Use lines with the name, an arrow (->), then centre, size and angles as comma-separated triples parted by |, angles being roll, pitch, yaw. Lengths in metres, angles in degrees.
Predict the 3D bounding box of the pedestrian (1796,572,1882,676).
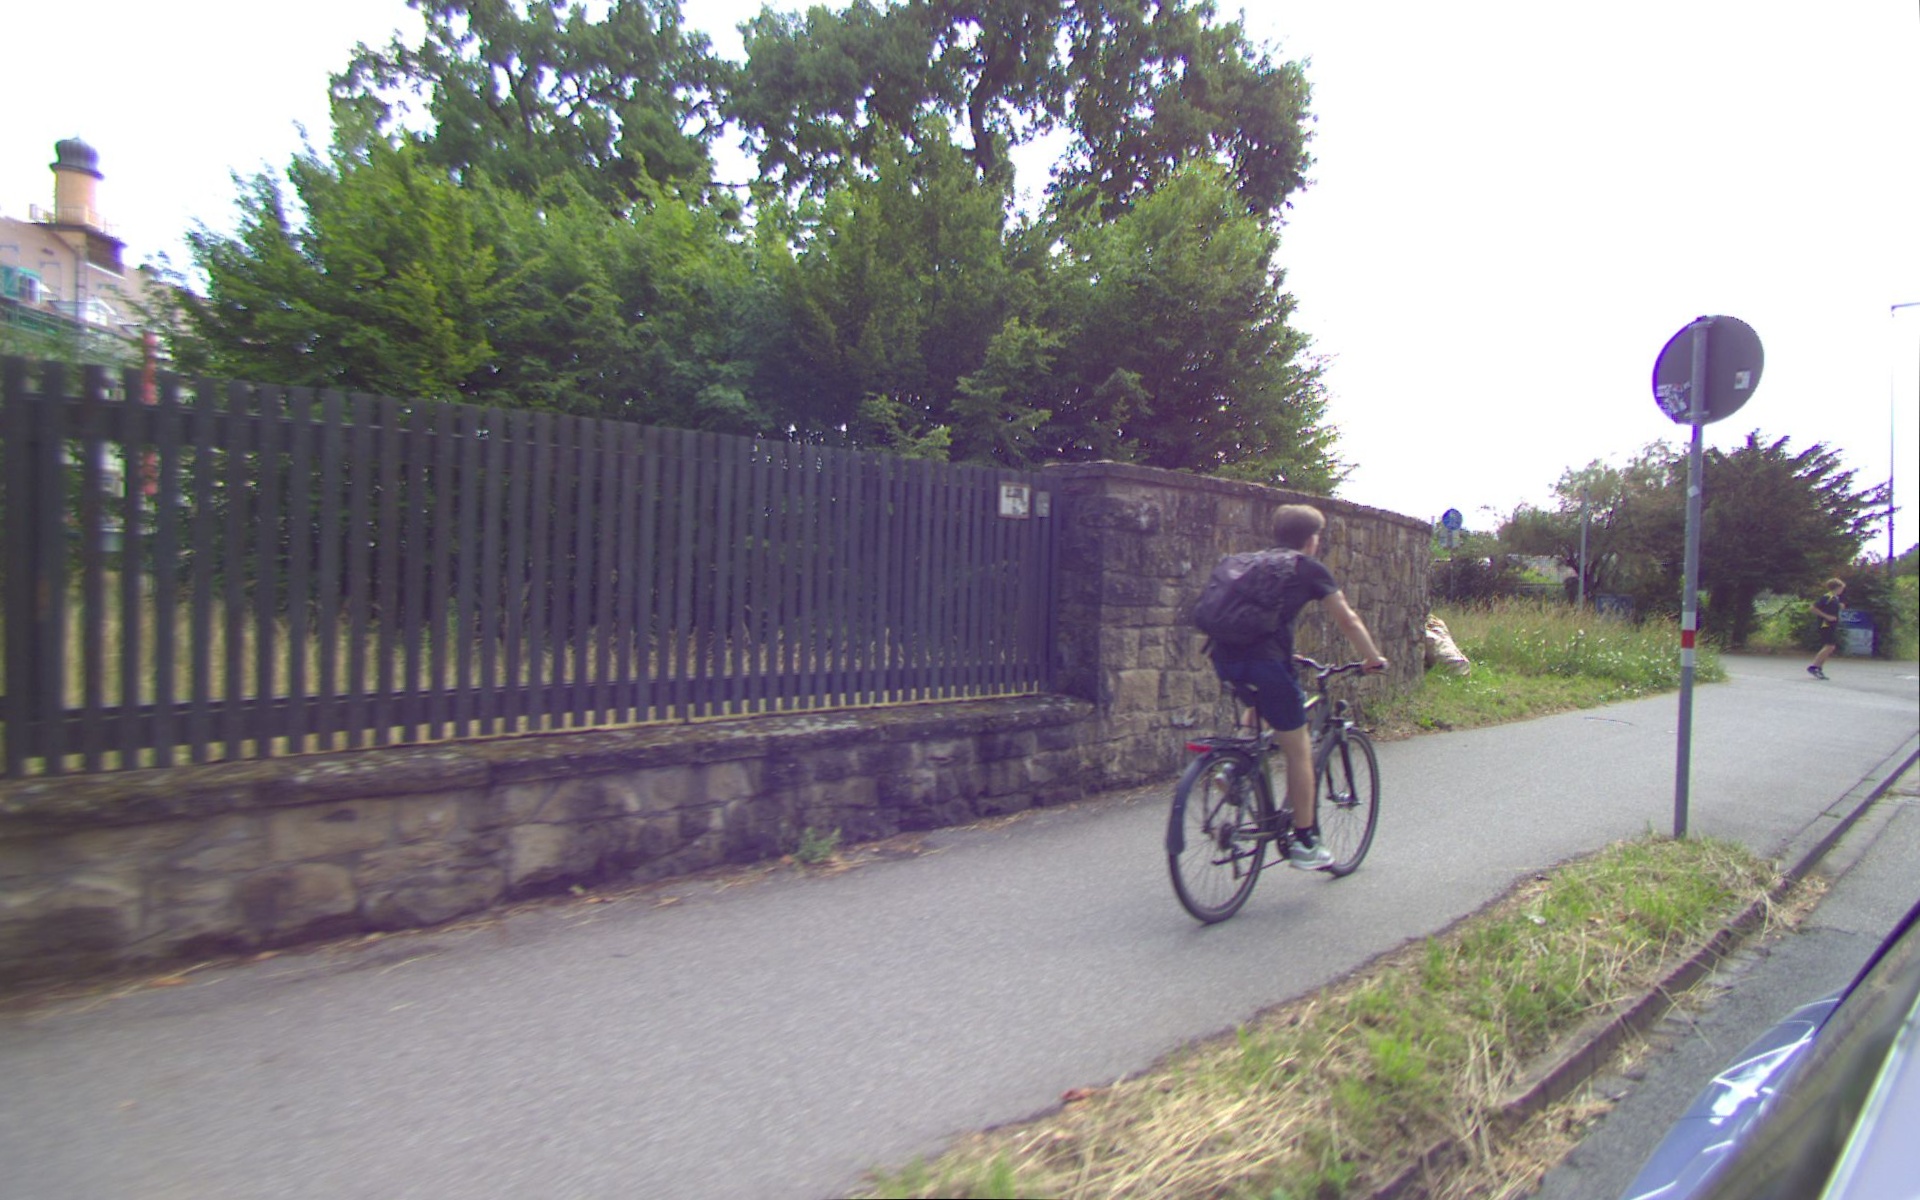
pedestrian -> 14.649, 0.380, 16.872 | 0.612, 1.671, 0.835 | 0, 3, -23

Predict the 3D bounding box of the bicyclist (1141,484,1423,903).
bicyclist -> 1.439, 0.343, 4.465 | 1.184, 1.607, 0.571 | 0, 3, -40

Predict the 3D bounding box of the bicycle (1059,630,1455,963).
bicycle -> 1.395, 0.719, 4.450 | 2.119, 1.086, 0.559 | 0, 3, -41
